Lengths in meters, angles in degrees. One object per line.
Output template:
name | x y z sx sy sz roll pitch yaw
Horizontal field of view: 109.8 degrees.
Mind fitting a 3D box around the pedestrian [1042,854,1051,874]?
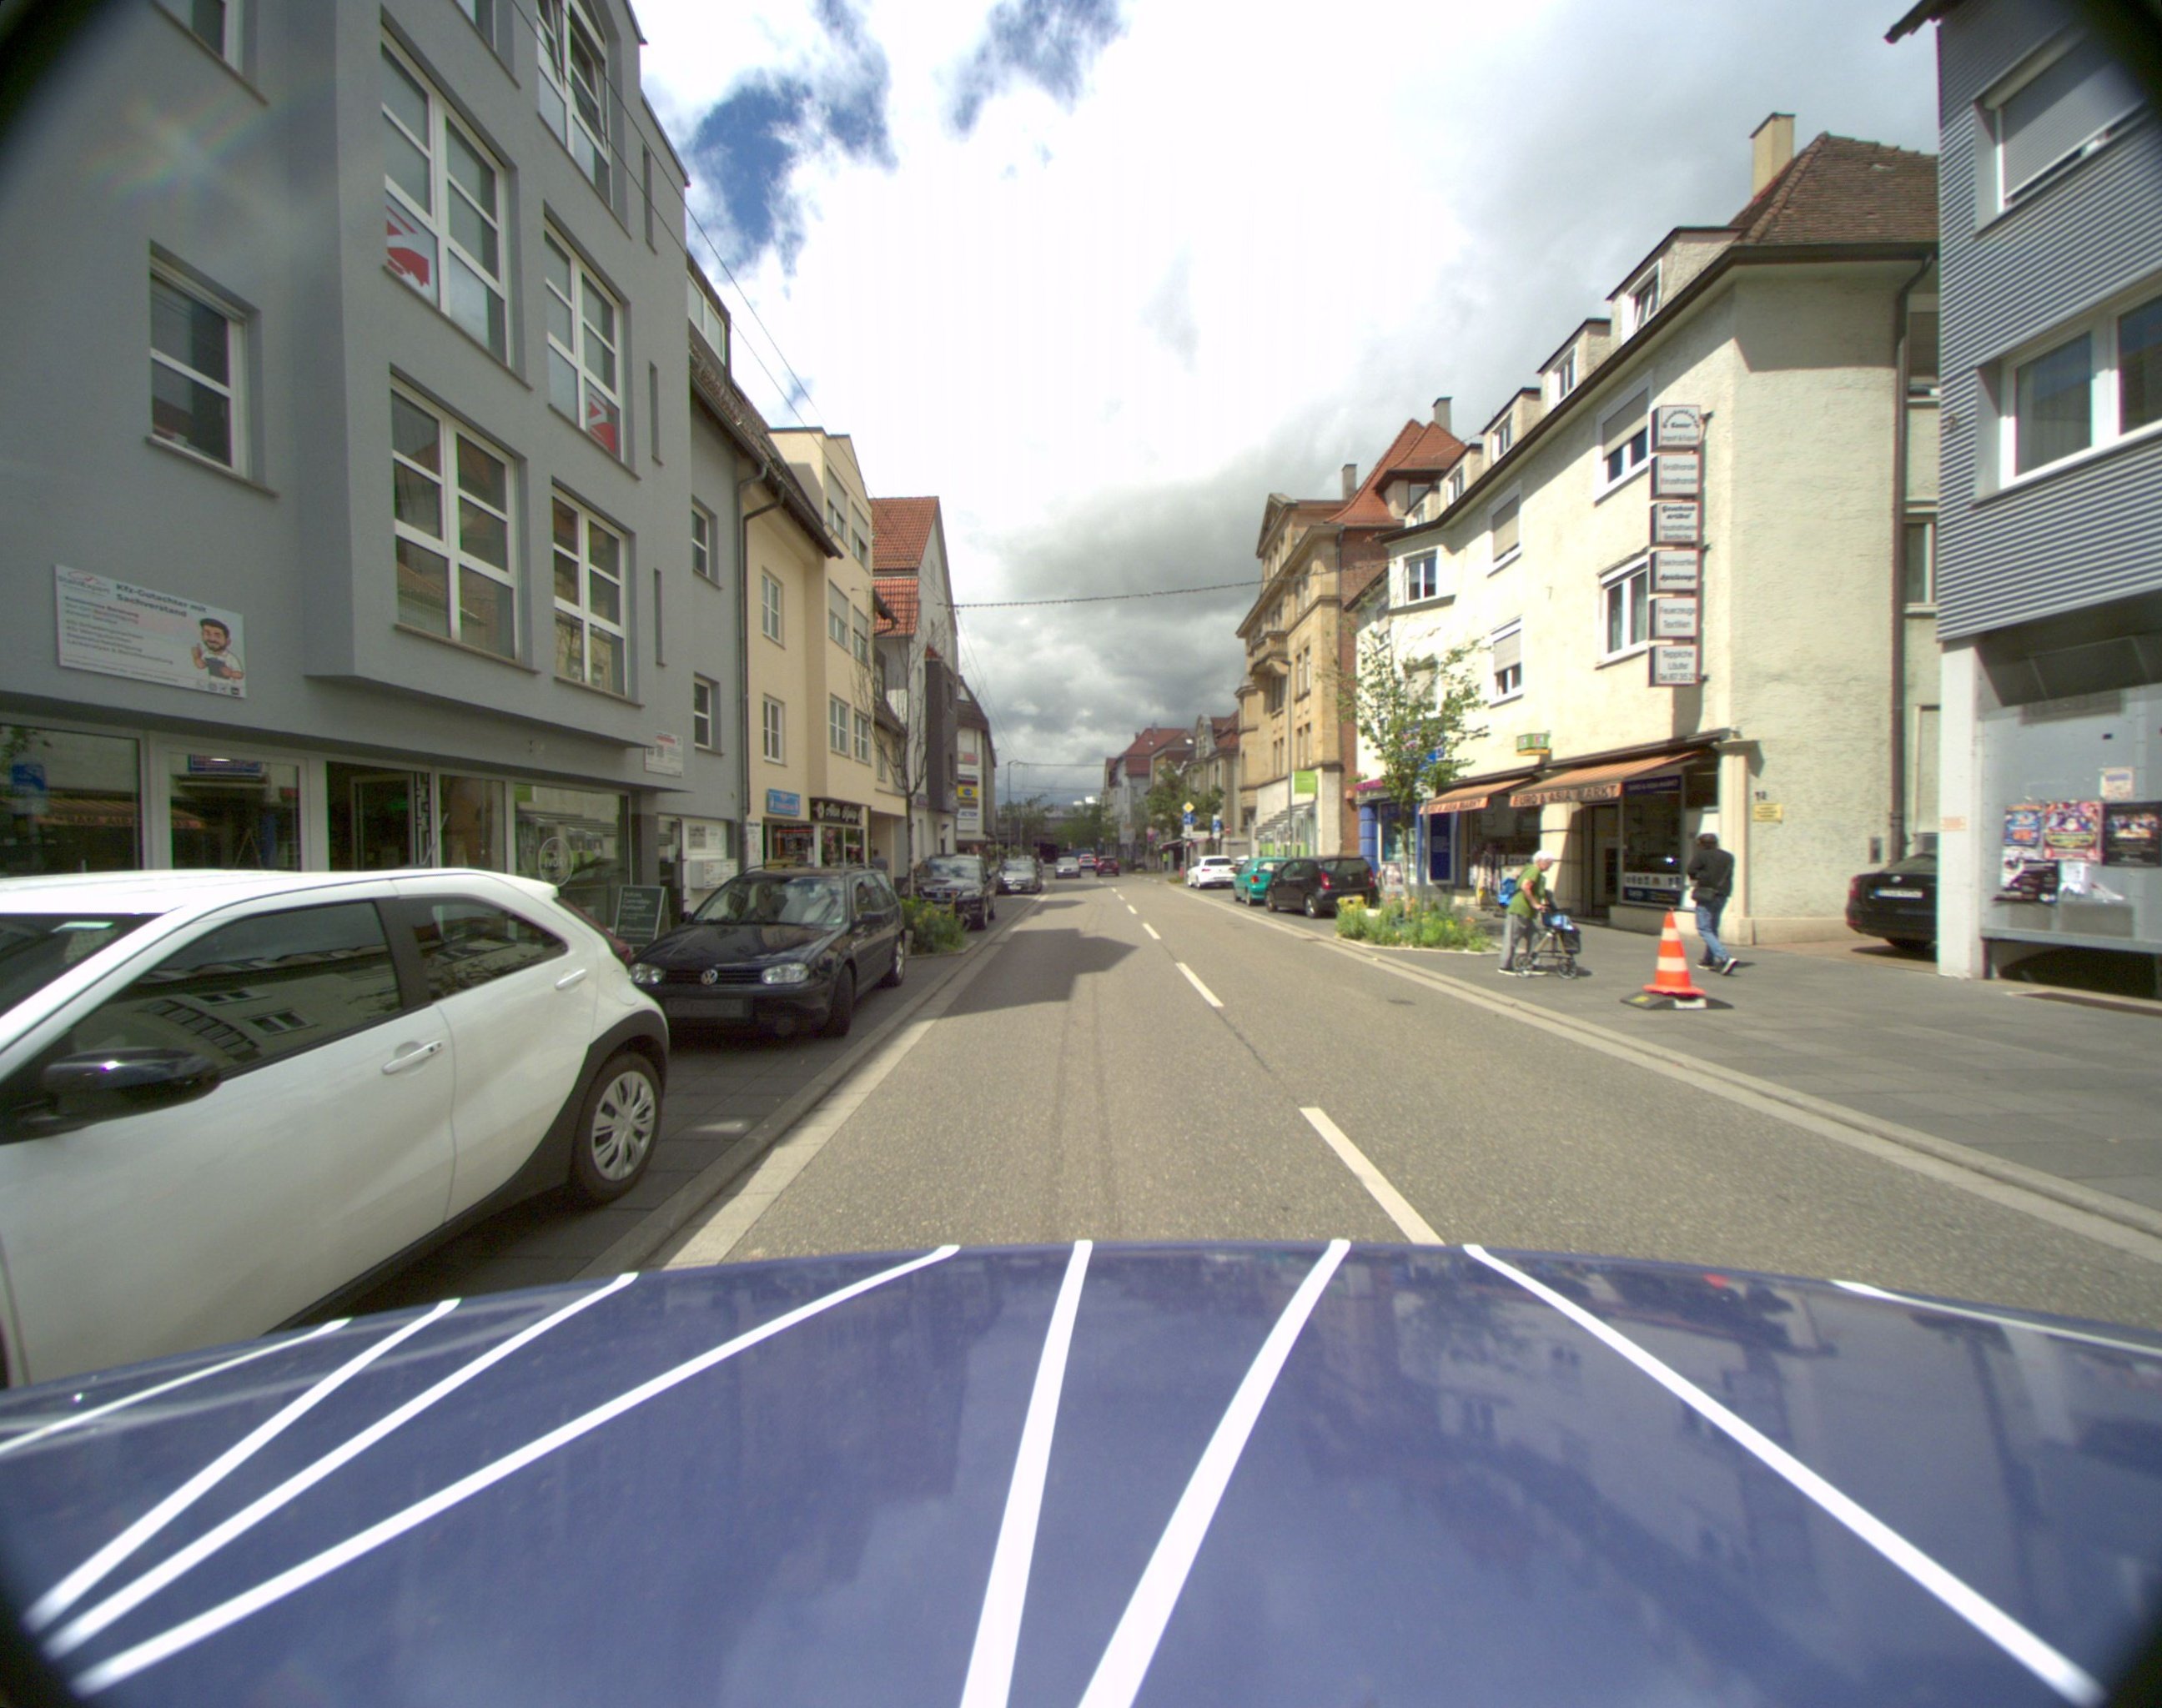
pedestrian | -2.823 0.802 62.198 0.584 1.591 0.549 -2 2 17

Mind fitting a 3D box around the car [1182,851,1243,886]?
car | 5.886 0.613 34.355 1.850 1.390 4.035 -2 1 -3

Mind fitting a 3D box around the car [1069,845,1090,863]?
car | -0.264 -0.098 120.316 2.310 2.657 7.263 -3 1 -8

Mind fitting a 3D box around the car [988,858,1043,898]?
car | -2.759 0.985 32.799 1.711 1.412 4.318 -2 1 3

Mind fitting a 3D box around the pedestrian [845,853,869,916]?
pedestrian | -6.229 0.845 21.156 0.437 1.708 0.537 -2 2 -2

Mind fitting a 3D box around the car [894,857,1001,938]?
car | -2.887 0.879 17.281 1.804 1.594 4.203 1 0 -2

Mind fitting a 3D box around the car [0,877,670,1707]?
car | -2.840 0.959 1.860 1.694 1.565 3.754 -2 1 -3

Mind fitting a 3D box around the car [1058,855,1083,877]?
car | -0.721 0.826 54.559 1.724 1.517 3.598 -1 0 1

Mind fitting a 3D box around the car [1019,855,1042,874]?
car | -4.044 0.813 61.638 1.720 1.445 4.550 -1 0 -3

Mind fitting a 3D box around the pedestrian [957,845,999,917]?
pedestrian | -2.732 0.701 20.207 0.978 1.853 0.864 1 1 -1

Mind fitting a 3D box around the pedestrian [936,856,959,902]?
pedestrian | -5.020 0.928 28.599 0.745 1.708 0.655 -1 2 -1

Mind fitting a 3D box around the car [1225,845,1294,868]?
car | 12.795 0.173 54.382 4.391 1.373 1.996 -4 1 -20

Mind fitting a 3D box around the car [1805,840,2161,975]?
car | 11.870 0.607 9.616 3.830 1.402 1.656 -2 1 0

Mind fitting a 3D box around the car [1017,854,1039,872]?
car | -5.086 0.833 73.348 1.825 1.652 4.465 1 0 0

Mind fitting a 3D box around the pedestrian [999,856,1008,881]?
pedestrian | -5.254 0.969 51.519 0.572 1.693 0.481 -3 2 -7

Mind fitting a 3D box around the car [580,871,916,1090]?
car | -2.909 0.984 7.733 1.694 1.432 4.294 1 1 -3

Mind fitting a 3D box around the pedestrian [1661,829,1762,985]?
pedestrian | 7.449 0.599 9.005 0.549 1.747 0.728 -2 2 -3

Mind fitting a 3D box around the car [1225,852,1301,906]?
car | 5.528 0.702 23.454 1.589 1.406 3.668 -2 1 3

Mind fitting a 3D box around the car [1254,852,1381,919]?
car | 5.730 0.706 18.825 1.602 1.437 3.554 -3 0 -8

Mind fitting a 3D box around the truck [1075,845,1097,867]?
truck | 0.524 0.198 89.378 2.112 2.292 6.472 -2 1 -4

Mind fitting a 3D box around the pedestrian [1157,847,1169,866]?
pedestrian | 7.513 0.232 69.595 0.801 1.746 0.812 -3 2 -8

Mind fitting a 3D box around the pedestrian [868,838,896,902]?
pedestrian | -5.460 0.426 20.826 0.537 1.708 0.606 -2 2 -1

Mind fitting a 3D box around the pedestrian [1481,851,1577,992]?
pedestrian | 5.407 0.787 9.194 0.733 1.609 0.651 -3 2 -4

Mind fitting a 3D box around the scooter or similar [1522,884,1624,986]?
scooter or similar | 5.902 0.956 9.145 0.784 1.119 0.630 -3 2 -4

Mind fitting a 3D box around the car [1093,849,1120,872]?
car | 1.840 0.439 55.688 1.537 1.521 3.756 -3 1 -5

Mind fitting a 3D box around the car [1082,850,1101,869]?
car | 1.063 0.510 74.982 1.792 1.630 4.116 -2 1 2

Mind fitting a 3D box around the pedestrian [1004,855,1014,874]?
pedestrian | -5.866 0.836 61.879 0.661 1.553 0.477 -2 2 -3
